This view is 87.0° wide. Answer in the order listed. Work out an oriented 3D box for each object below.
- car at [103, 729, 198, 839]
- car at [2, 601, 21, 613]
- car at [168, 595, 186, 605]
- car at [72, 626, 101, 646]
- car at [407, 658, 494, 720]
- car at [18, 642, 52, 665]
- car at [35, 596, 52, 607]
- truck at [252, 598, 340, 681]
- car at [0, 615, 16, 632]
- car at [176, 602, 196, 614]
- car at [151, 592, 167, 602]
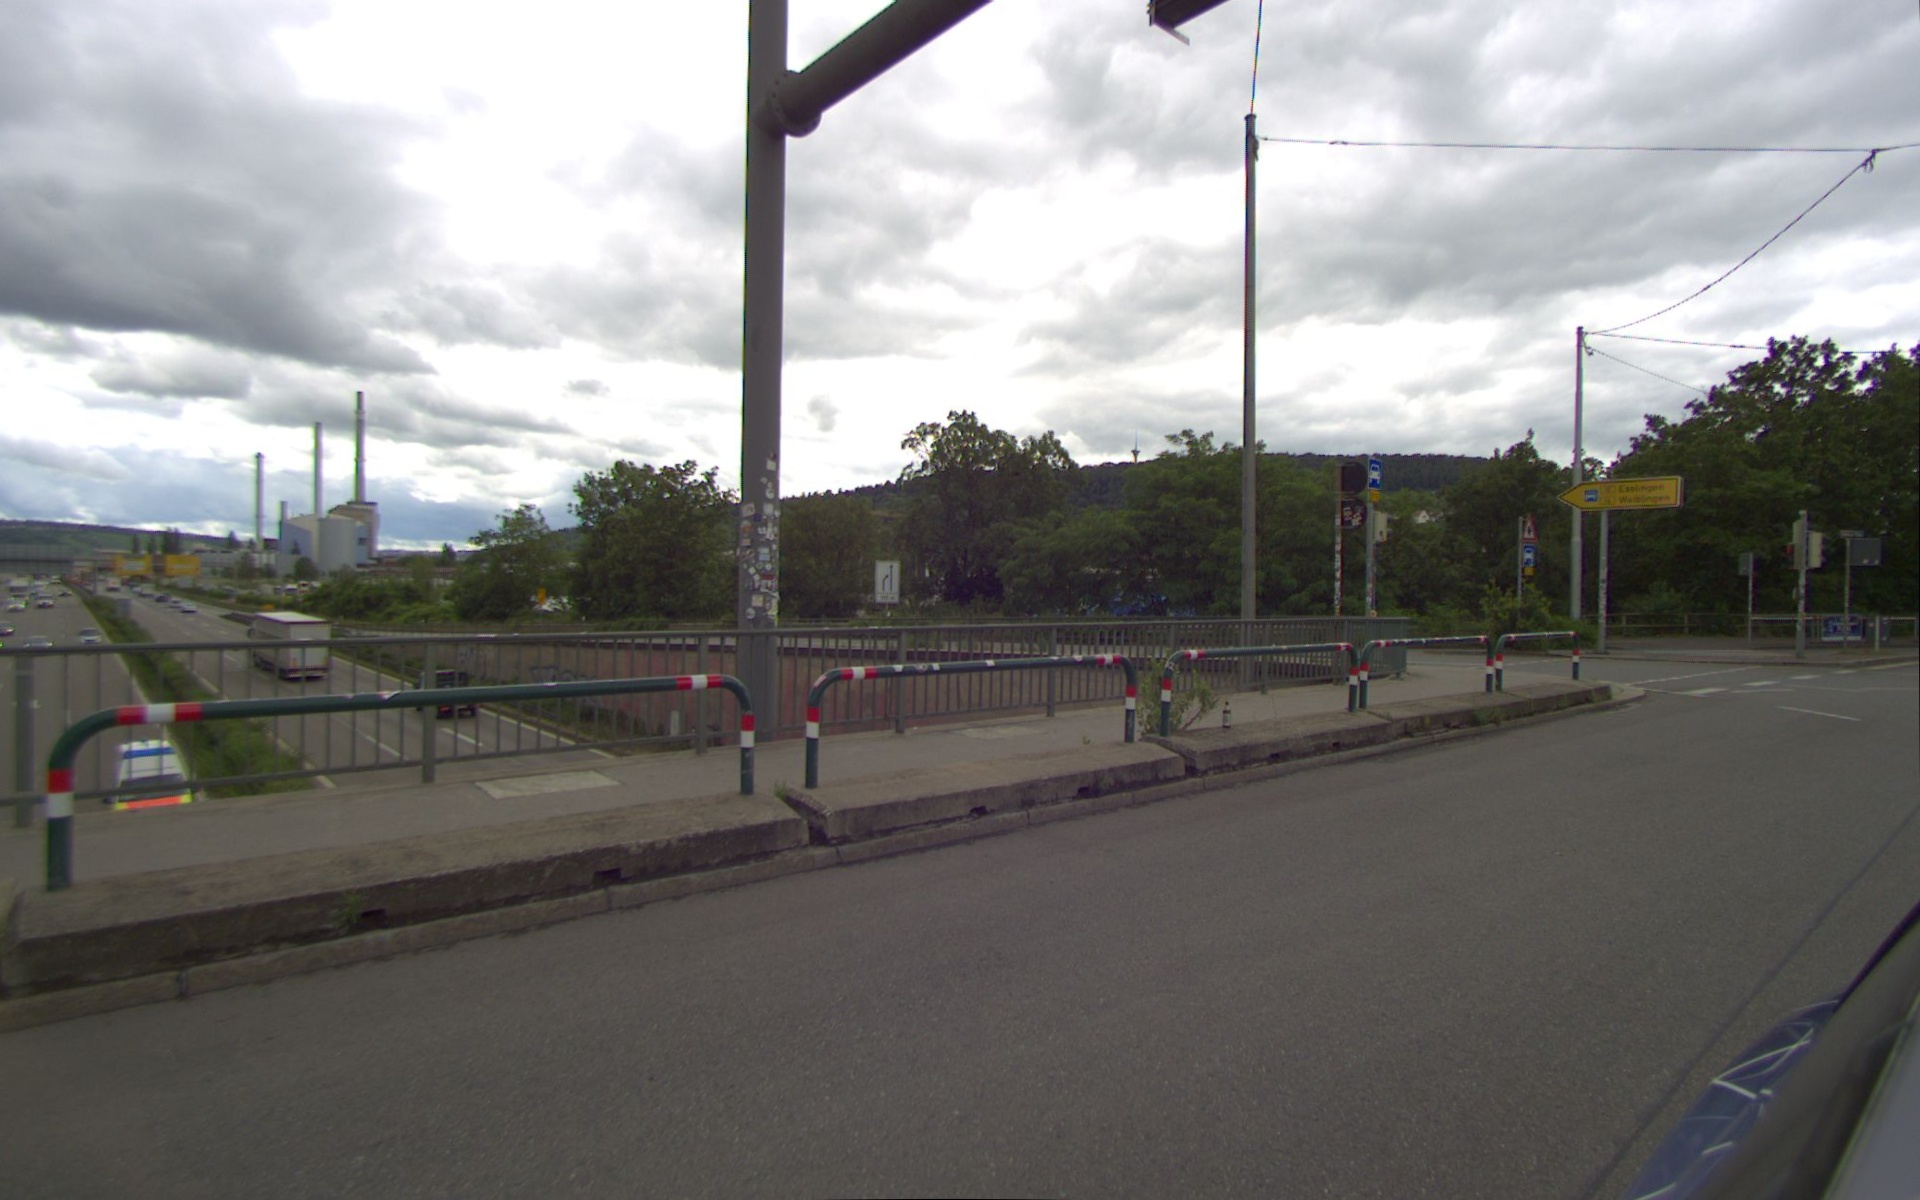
[{"bbox_3d":[-24.337,5.400,30.363,1.966,2.400,4.581,-2,1,-42],"label":"car"},{"bbox_3d":[-144.611,1.046,154.247,1.966,1.728,4.072,-2,1,-42],"label":"car"},{"bbox_3d":[-138.602,-0.002,179.146,1.968,1.758,3.986,-2,1,-44],"label":"car"},{"bbox_3d":[-82.318,3.357,95.361,1.966,1.728,4.072,-2,1,-42],"label":"car"},{"bbox_3d":[-27.476,4.659,54.383,2.868,2.530,7.274,-2,1,-37],"label":"car"},{"bbox_3d":[-78.269,4.494,85.664,1.966,1.728,4.072,-2,1,-42],"label":"car"},{"bbox_3d":[-149.434,0.258,165.041,1.966,1.728,4.072,-2,1,-42],"label":"car"},{"bbox_3d":[-47.621,2.580,72.296,3.526,4.540,13.166,1,3,-41],"label":"truck"},{"bbox_3d":[-101.049,2.500,106.725,1.966,1.728,4.072,-2,1,-42],"label":"car"},{"bbox_3d":[-122.178,1.236,159.759,1.967,1.758,3.986,-2,1,-44],"label":"car"},{"bbox_3d":[-157.813,-0.612,199.413,1.968,1.758,3.986,-2,1,-44],"label":"car"}]
